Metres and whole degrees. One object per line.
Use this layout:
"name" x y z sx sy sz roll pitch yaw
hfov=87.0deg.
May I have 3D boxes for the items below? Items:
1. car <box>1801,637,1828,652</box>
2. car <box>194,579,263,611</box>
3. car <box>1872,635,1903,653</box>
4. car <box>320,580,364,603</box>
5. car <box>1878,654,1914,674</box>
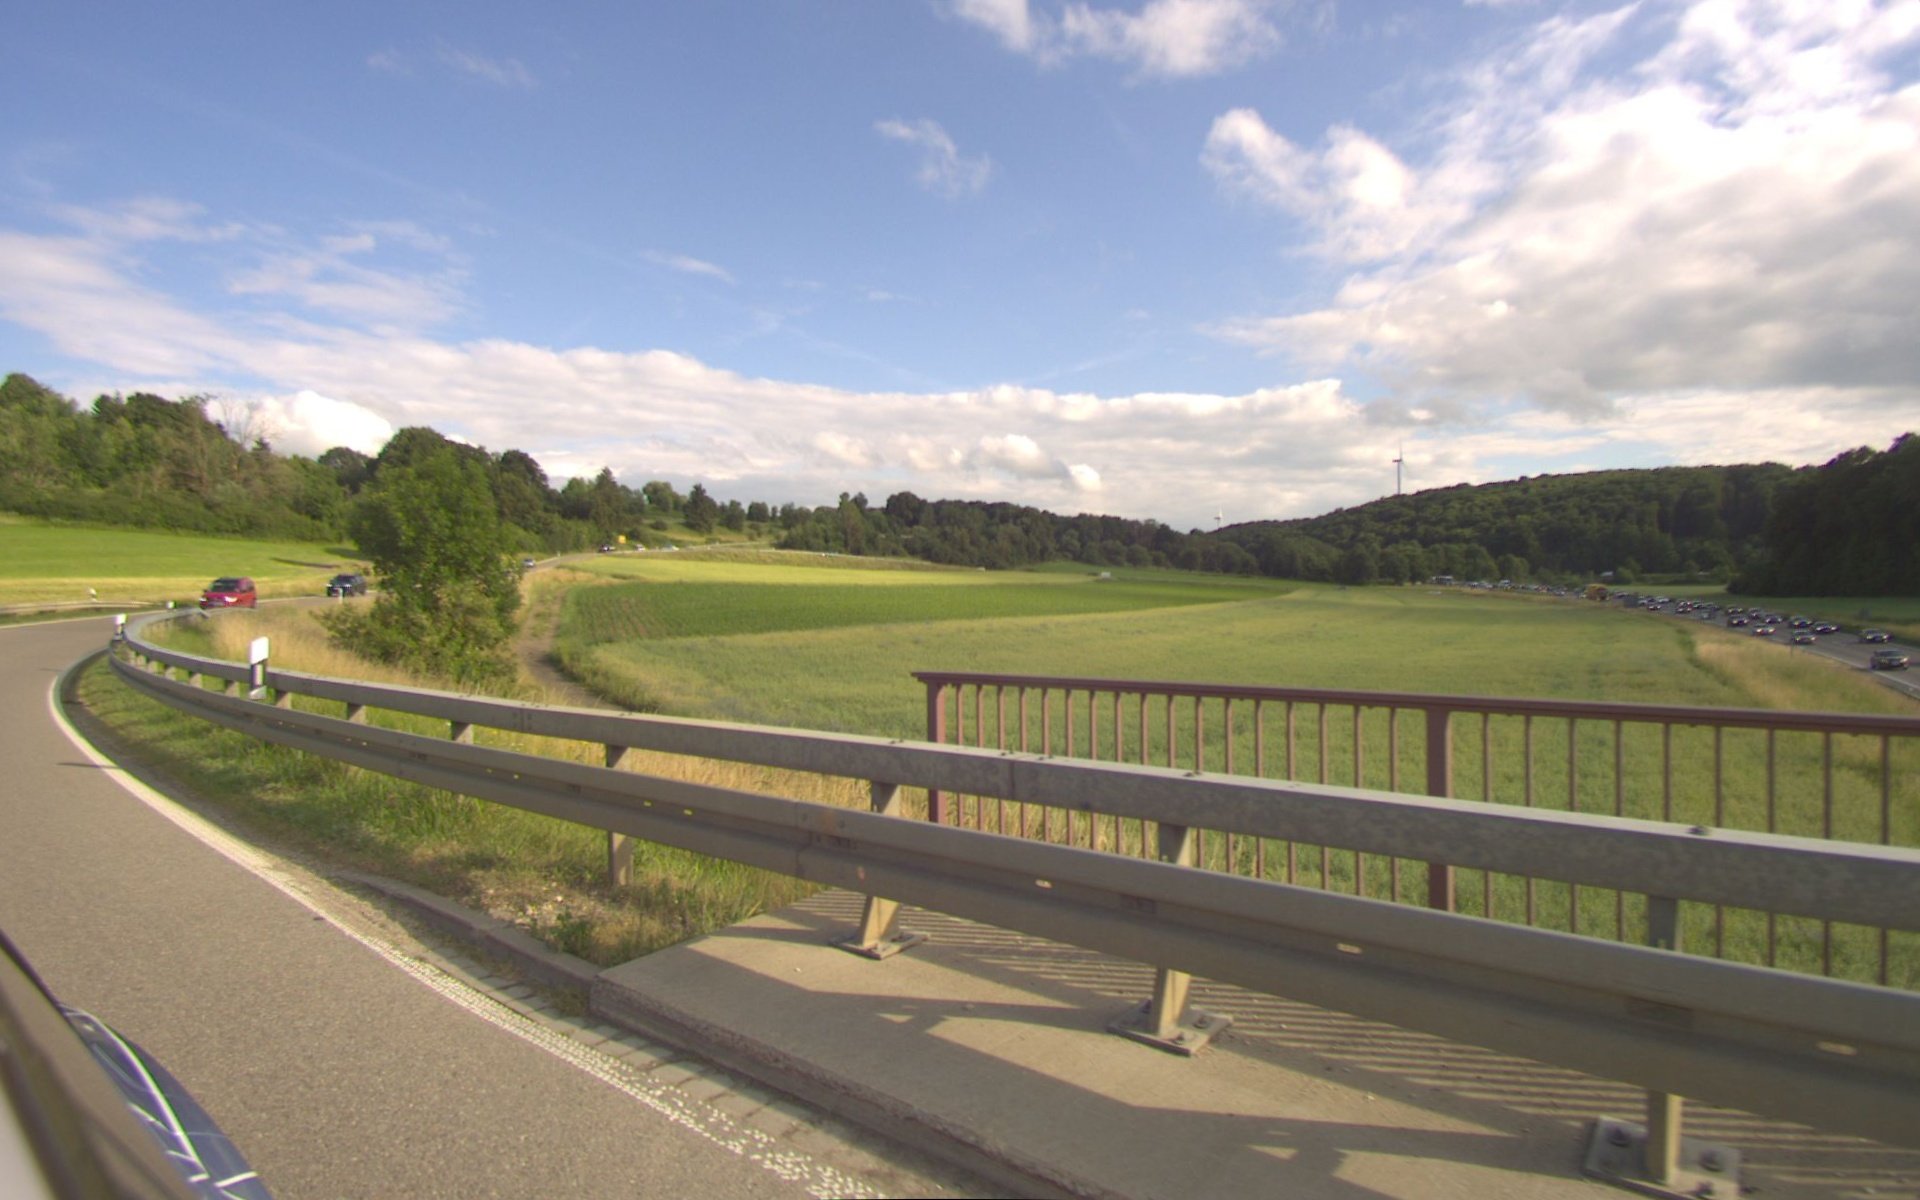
"car" 95.753 4.987 113.446 1.823 1.453 3.955 0 1 33
"car" -39.795 -0.303 55.147 1.791 1.667 4.012 0 2 -16
"car" 99.468 4.660 108.564 1.797 1.599 3.956 1 2 33
"car" -47.248 -0.660 77.493 1.791 1.623 4.012 2 1 -15
"car" 77.504 5.290 83.863 1.713 1.342 3.952 0 1 35
